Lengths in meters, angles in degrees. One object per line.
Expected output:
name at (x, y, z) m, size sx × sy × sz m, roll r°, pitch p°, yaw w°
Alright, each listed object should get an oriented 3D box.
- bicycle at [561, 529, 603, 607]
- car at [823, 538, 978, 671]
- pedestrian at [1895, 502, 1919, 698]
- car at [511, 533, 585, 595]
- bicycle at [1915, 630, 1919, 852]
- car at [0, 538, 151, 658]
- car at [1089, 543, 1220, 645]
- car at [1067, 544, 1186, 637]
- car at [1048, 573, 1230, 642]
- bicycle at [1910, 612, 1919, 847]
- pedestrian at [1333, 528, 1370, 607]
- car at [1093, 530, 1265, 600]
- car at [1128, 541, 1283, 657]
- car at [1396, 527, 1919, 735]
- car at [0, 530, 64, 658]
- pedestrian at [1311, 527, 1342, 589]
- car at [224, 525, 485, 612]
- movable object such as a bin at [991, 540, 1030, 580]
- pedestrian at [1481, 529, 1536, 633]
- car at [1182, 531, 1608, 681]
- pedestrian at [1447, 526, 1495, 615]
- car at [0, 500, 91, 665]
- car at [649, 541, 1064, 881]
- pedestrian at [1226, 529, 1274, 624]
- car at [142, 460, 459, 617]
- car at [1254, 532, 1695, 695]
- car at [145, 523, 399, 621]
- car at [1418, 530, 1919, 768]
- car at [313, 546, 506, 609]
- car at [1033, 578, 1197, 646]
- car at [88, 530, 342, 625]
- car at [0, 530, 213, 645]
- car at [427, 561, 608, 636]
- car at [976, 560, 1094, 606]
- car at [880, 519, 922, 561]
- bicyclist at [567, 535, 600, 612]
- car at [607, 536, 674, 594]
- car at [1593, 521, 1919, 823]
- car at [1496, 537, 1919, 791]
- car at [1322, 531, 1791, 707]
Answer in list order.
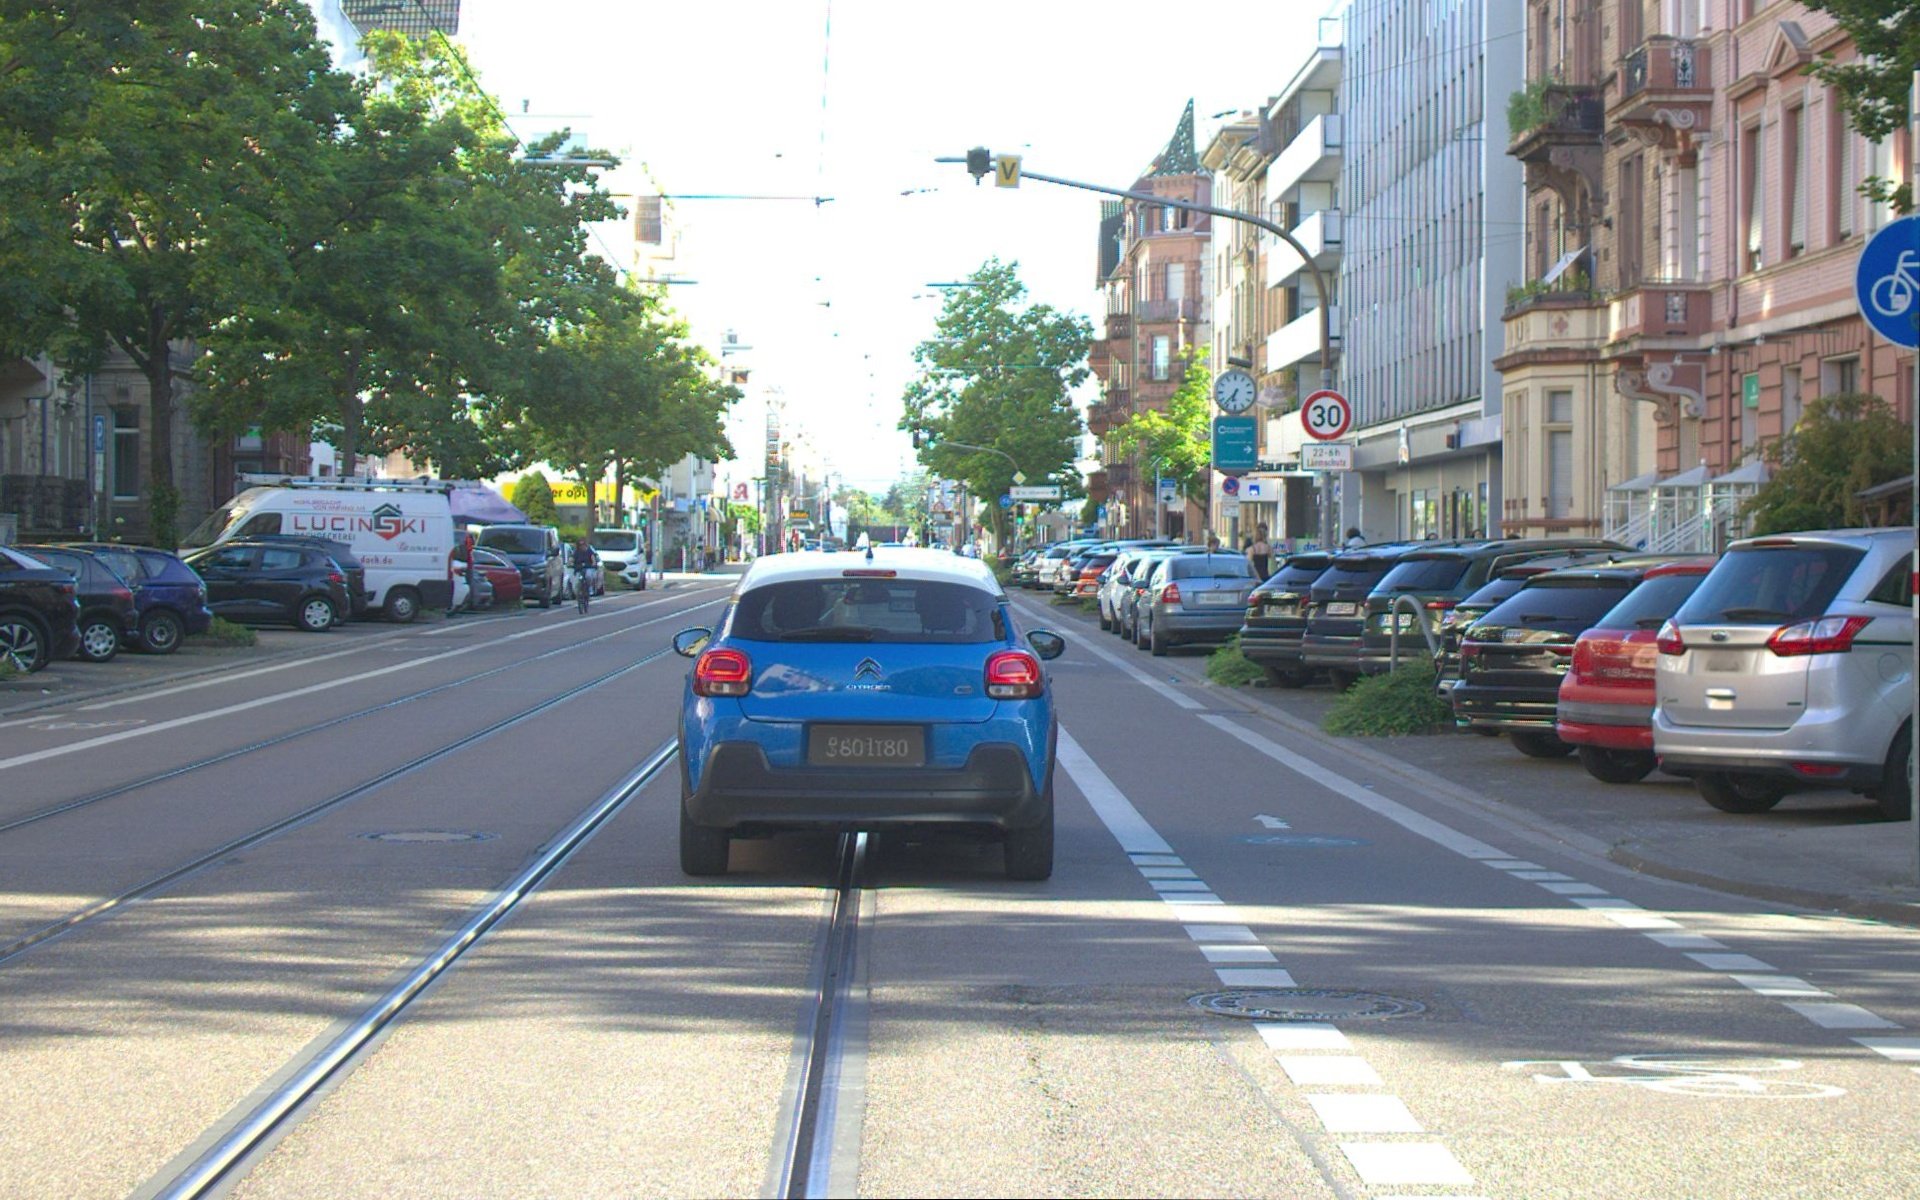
bicycle at (-8.300, -0.708, 75.544) m, size 0.680 × 1.673 × 2.097 m, roll 1°, pitch 1°, yaw -1°
car at (-0.746, 0.033, 44.254) m, size 1.873 × 1.590 × 4.000 m, roll 1°, pitch 1°, yaw 0°
pedestrian at (8.326, 0.000, 29.151) m, size 0.518 × 1.643 × 0.864 m, roll 1°, pitch 0°, yaw -1°
car at (-11.195, -0.996, 93.638) m, size 1.747 × 1.612 × 4.411 m, roll 1°, pitch 1°, yaw -4°
bicycle at (5.333, 0.674, 16.189) m, size 1.556 × 1.075 × 0.307 m, roll 1°, pitch 0°, yaw 6°
car at (-12.390, -0.047, 43.086) m, size 3.987 × 1.484 × 1.806 m, roll 1°, pitch 1°, yaw -33°
car at (3.188, -0.125, 57.046) m, size 1.873 × 1.590 × 4.000 m, roll 1°, pitch 1°, yaw 0°
car at (2.960, -0.192, 61.832) m, size 1.873 × 1.590 × 4.000 m, roll 1°, pitch 1°, yaw 0°
car at (4.130, 0.174, 79.132) m, size 3.718 × 1.515 × 1.968 m, roll 1°, pitch 1°, yaw -33°
bicycle at (5.405, 0.638, 16.527) m, size 1.560 × 1.123 × 0.294 m, roll 1°, pitch 0°, yaw 6°
pedestrian at (8.833, -0.738, 77.575) m, size 0.692 × 1.750 × 0.678 m, roll 1°, pitch 0°, yaw -1°
car at (5.397, -0.855, 84.818) m, size 3.718 × 1.646 × 2.048 m, roll 1°, pitch 1°, yaw -33°
car at (3.554, -0.042, 50.601) m, size 1.873 × 1.590 × 4.719 m, roll 1°, pitch 1°, yaw 0°
car at (5.970, 0.249, 28.097) m, size 4.317 × 1.590 × 2.046 m, roll 1°, pitch 1°, yaw -25°
car at (-12.673, -0.099, 39.920) m, size 3.987 × 1.484 × 1.867 m, roll 1°, pitch 1°, yaw -33°
pedestrian at (9.511, -1.091, 89.298) m, size 0.692 × 1.582 × 0.678 m, roll 1°, pitch 0°, yaw -1°
car at (-11.882, -0.606, 67.588) m, size 4.755 × 1.612 × 1.712 m, roll 1°, pitch 1°, yaw -33°
movable object such as a bin at (1.878, -1.503, 128.885) m, size 1.394 × 1.478 × 1.655 m, roll 1°, pitch 1°, yaw -1°
pedestrian at (8.594, -0.297, 53.911) m, size 0.712 × 1.601 × 0.654 m, roll 1°, pitch 0°, yaw -1°
car at (4.866, 0.068, 38.446) m, size 4.302 × 1.590 × 1.983 m, roll 1°, pitch 1°, yaw -25°
pedestrian at (9.238, -0.536, 62.182) m, size 0.712 × 1.601 × 0.654 m, roll 1°, pitch 0°, yaw -1°
car at (-11.903, -0.221, 37.335) m, size 4.352 × 1.777 × 1.996 m, roll 1°, pitch 1°, yaw -33°
car at (-0.482, 0.459, 16.630) m, size 1.762 × 1.436 × 3.557 m, roll 1°, pitch 1°, yaw -1°
pedestrian at (4.932, -0.400, 58.416) m, size 0.712 × 1.601 × 0.654 m, roll 1°, pitch 0°, yaw -1°
car at (-12.058, -1.099, 62.971) m, size 5.370 × 2.739 × 1.806 m, roll 1°, pitch 1°, yaw -30°
car at (5.315, 0.140, 35.544) m, size 3.986 × 1.590 × 2.088 m, roll 1°, pitch 1°, yaw -25°
car at (-11.931, -0.480, 59.625) m, size 3.986 × 1.612 × 1.713 m, roll 1°, pitch 1°, yaw -26°
car at (5.778, 0.340, 24.844) m, size 4.433 × 1.590 × 2.089 m, roll 1°, pitch 1°, yaw -25°
car at (-11.796, -0.484, 73.662) m, size 3.796 × 1.261 × 1.516 m, roll 1°, pitch 1°, yaw -26°
car at (3.689, 0.280, 81.661) m, size 3.441 × 1.550 × 1.824 m, roll 1°, pitch 1°, yaw -32°
car at (-12.475, -0.375, 57.525) m, size 3.986 × 1.484 × 1.807 m, roll 1°, pitch 1°, yaw -17°
car at (-12.252, -0.177, 46.123) m, size 3.986 × 1.484 × 1.806 m, roll 1°, pitch 1°, yaw -28°
car at (-10.068, -0.036, 78.163) m, size 3.722 × 1.617 × 1.789 m, roll 1°, pitch 1°, yaw -22°
car at (2.577, -0.592, 118.793) m, size 3.653 × 1.529 × 1.789 m, roll 1°, pitch 1°, yaw -20°
car at (-2.042, -2.086, 120.075) m, size 1.423 × 1.427 × 3.139 m, roll 1°, pitch 1°, yaw 0°
bicyclist at (-8.291, -0.581, 75.688) m, size 0.634 × 1.675 × 0.727 m, roll 1°, pitch 0°, yaw -1°
car at (-10.438, -1.156, 112.492) m, size 1.831 × 1.841 × 4.214 m, roll 1°, pitch 1°, yaw -1°
car at (6.021, 0.393, 19.861) m, size 4.350 × 1.590 × 1.854 m, roll 1°, pitch 1°, yaw -25°
car at (5.739, 0.396, 22.490) m, size 3.986 × 1.531 × 1.919 m, roll 1°, pitch 1°, yaw -25°
car at (5.703, 0.179, 32.873) m, size 3.986 × 1.590 × 1.960 m, roll 1°, pitch 1°, yaw -25°
